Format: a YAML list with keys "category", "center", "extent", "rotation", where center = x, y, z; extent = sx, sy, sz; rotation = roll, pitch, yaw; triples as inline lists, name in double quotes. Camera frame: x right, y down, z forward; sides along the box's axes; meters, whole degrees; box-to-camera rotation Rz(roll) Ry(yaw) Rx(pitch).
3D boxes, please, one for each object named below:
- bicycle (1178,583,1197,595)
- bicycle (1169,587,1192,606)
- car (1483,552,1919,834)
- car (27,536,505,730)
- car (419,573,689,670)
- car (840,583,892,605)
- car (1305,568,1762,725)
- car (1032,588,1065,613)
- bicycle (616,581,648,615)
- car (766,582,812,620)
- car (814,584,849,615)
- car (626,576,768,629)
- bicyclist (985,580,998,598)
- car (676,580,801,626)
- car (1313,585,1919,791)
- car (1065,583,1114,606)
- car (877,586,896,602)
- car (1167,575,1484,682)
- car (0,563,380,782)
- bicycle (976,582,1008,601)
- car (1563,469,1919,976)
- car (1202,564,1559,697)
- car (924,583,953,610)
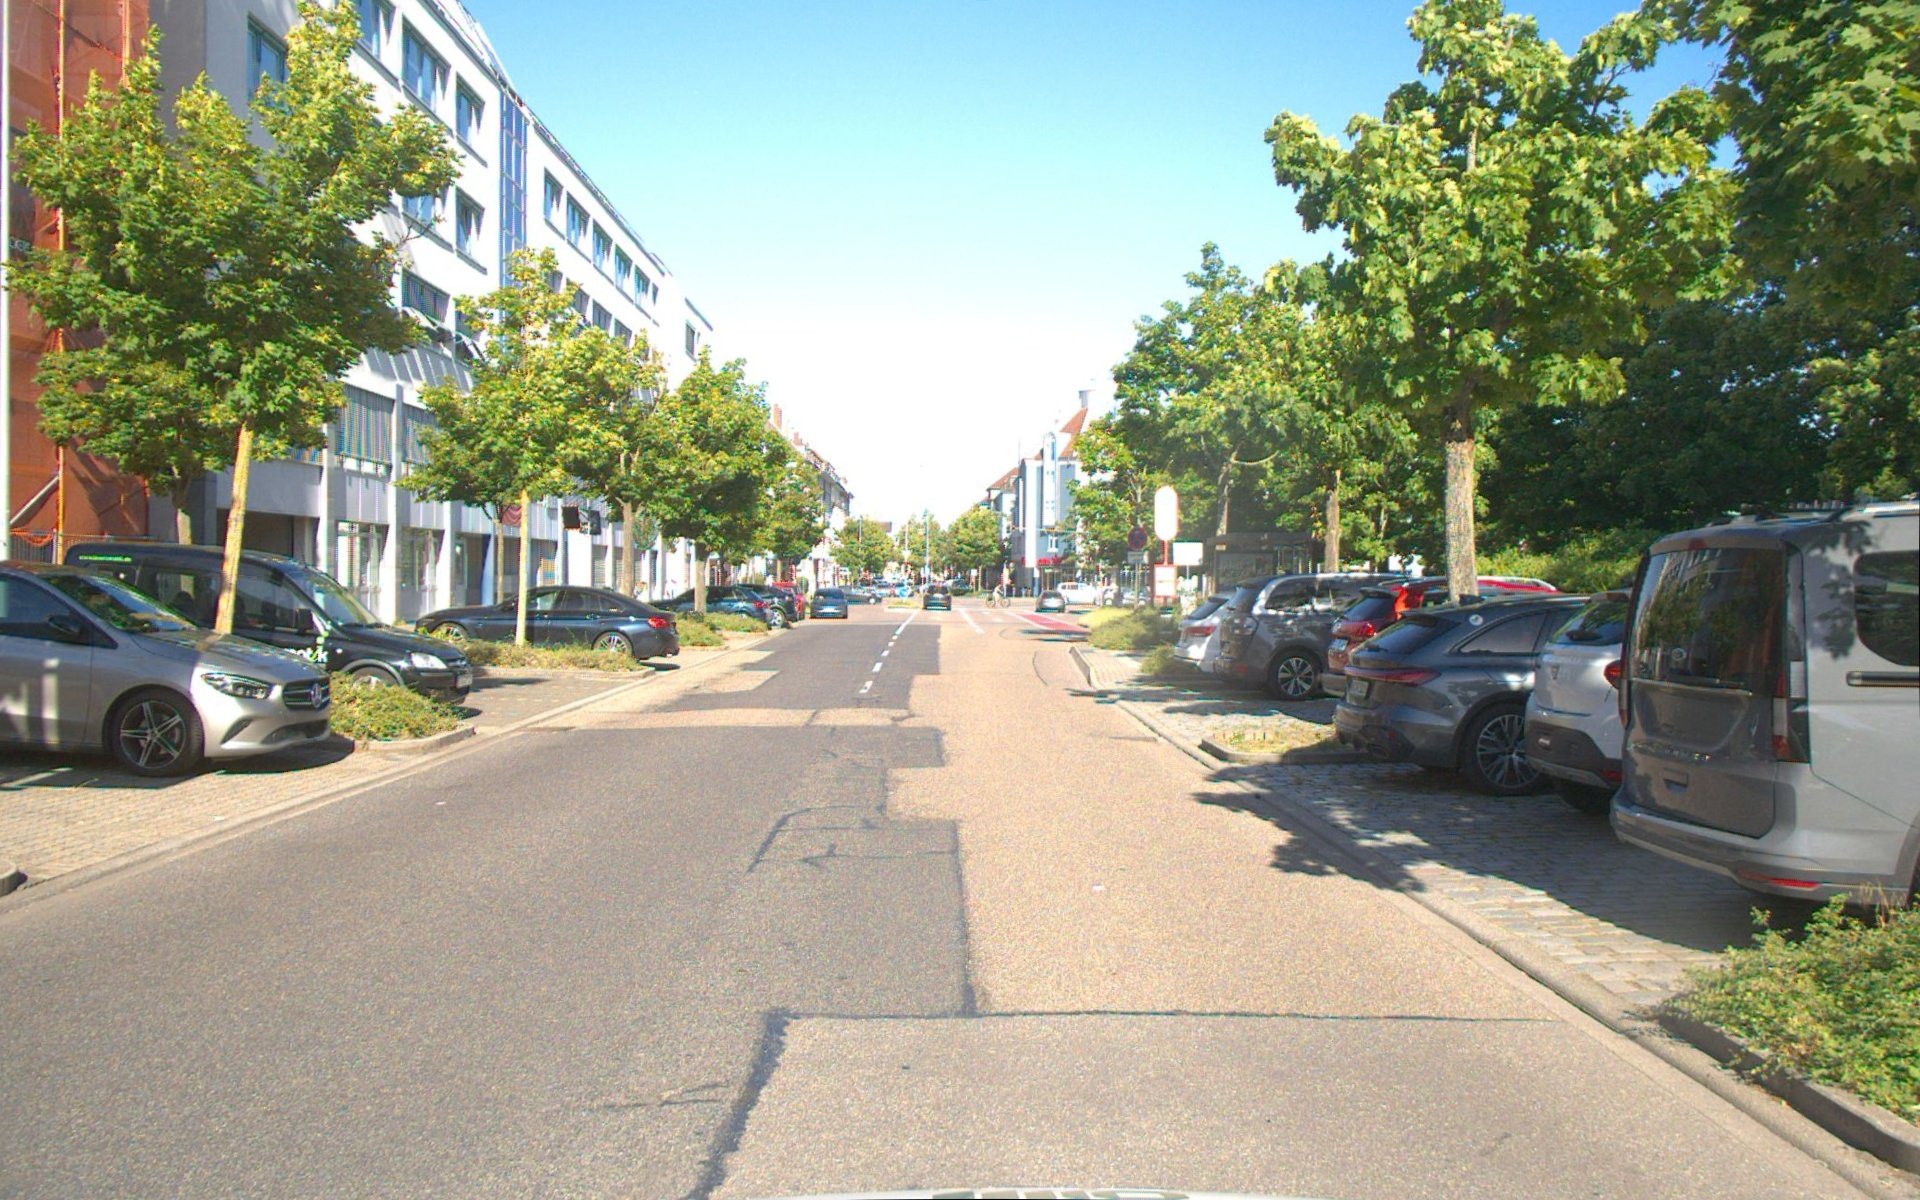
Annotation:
- category: "bicycle"
  center: [22.826, -1.137, 165.842]
  extent: [1.827, 1.203, 0.561]
  rotation: [0, 1, -6]
- category: "bicycle"
  center: [16.372, -0.284, 122.765]
  extent: [0.777, 1.371, 2.254]
  rotation: [0, 1, 36]
- category: "car"
  center: [5.802, 0.504, 10.476]
  extent: [4.312, 1.584, 2.074]
  rotation: [-1, 0, -1]
- category: "car"
  center: [-7.353, 0.332, 17.842]
  extent: [4.296, 1.775, 1.847]
  rotation: [3, 0, 0]
- category: "car"
  center: [-7.079, 0.362, 29.209]
  extent: [4.300, 1.457, 1.976]
  rotation: [3, 0, -5]
- category: "car"
  center: [-7.134, -0.430, 125.555]
  extent: [3.872, 1.628, 1.675]
  rotation: [-1, 0, -3]
- category: "car"
  center: [6.114, 0.467, 17.987]
  extent: [4.312, 1.563, 1.876]
  rotation: [-1, 0, -1]
- category: "car"
  center: [5.949, 0.028, 111.375]
  extent: [1.655, 1.605, 3.868]
  rotation: [3, 0, -4]
- category: "bicycle"
  center: [-13.420, -0.100, 67.721]
  extent: [0.694, 1.371, 2.233]
  rotation: [-1, 0, 4]
- category: "car"
  center: [-7.764, 0.019, 75.489]
  extent: [1.654, 1.635, 4.310]
  rotation: [3, 0, -1]
- category: "car"
  center: [-6.291, -0.049, 81.122]
  extent: [1.655, 1.494, 4.544]
  rotation: [0, 1, -4]
- category: "car"
  center: [-8.341, 0.061, 52.722]
  extent: [4.301, 1.457, 1.692]
  rotation: [3, 0, -6]
- category: "bicyclist"
  center: [2.302, -0.811, 120.949]
  extent: [0.689, 1.371, 0.790]
  rotation: [0, 1, 34]
- category: "car"
  center: [-7.956, 0.096, 59.697]
  extent: [4.299, 1.457, 1.897]
  rotation: [3, 0, -4]
- category: "car"
  center: [5.162, 0.627, 13.022]
  extent: [4.312, 1.434, 2.074]
  rotation: [-1, 0, -1]
- category: "car"
  center: [10.099, -0.465, 129.332]
  extent: [3.778, 1.605, 1.694]
  rotation: [3, 0, 3]
- category: "car"
  center: [-7.821, -0.648, 176.317]
  extent: [1.718, 1.583, 3.731]
  rotation: [3, 0, 0]
- category: "car"
  center: [5.384, 0.405, 24.735]
  extent: [4.312, 1.488, 1.895]
  rotation: [-1, 0, -1]
- category: "car"
  center: [-7.181, 0.508, 13.395]
  extent: [4.297, 1.540, 1.693]
  rotation: [3, 0, -2]
- category: "bicycle"
  center: [2.331, -0.604, 120.920]
  extent: [2.216, 1.371, 0.790]
  rotation: [0, 1, 34]
- category: "car"
  center: [5.227, 0.436, 7.381]
  extent: [4.312, 1.925, 2.074]
  rotation: [-1, 0, -1]
- category: "car"
  center: [5.600, 0.384, 22.454]
  extent: [4.312, 1.670, 2.074]
  rotation: [-1, 0, -1]
- category: "car"
  center: [-1.419, -0.230, 107.452]
  extent: [1.718, 1.656, 4.476]
  rotation: [3, 0, -2]
